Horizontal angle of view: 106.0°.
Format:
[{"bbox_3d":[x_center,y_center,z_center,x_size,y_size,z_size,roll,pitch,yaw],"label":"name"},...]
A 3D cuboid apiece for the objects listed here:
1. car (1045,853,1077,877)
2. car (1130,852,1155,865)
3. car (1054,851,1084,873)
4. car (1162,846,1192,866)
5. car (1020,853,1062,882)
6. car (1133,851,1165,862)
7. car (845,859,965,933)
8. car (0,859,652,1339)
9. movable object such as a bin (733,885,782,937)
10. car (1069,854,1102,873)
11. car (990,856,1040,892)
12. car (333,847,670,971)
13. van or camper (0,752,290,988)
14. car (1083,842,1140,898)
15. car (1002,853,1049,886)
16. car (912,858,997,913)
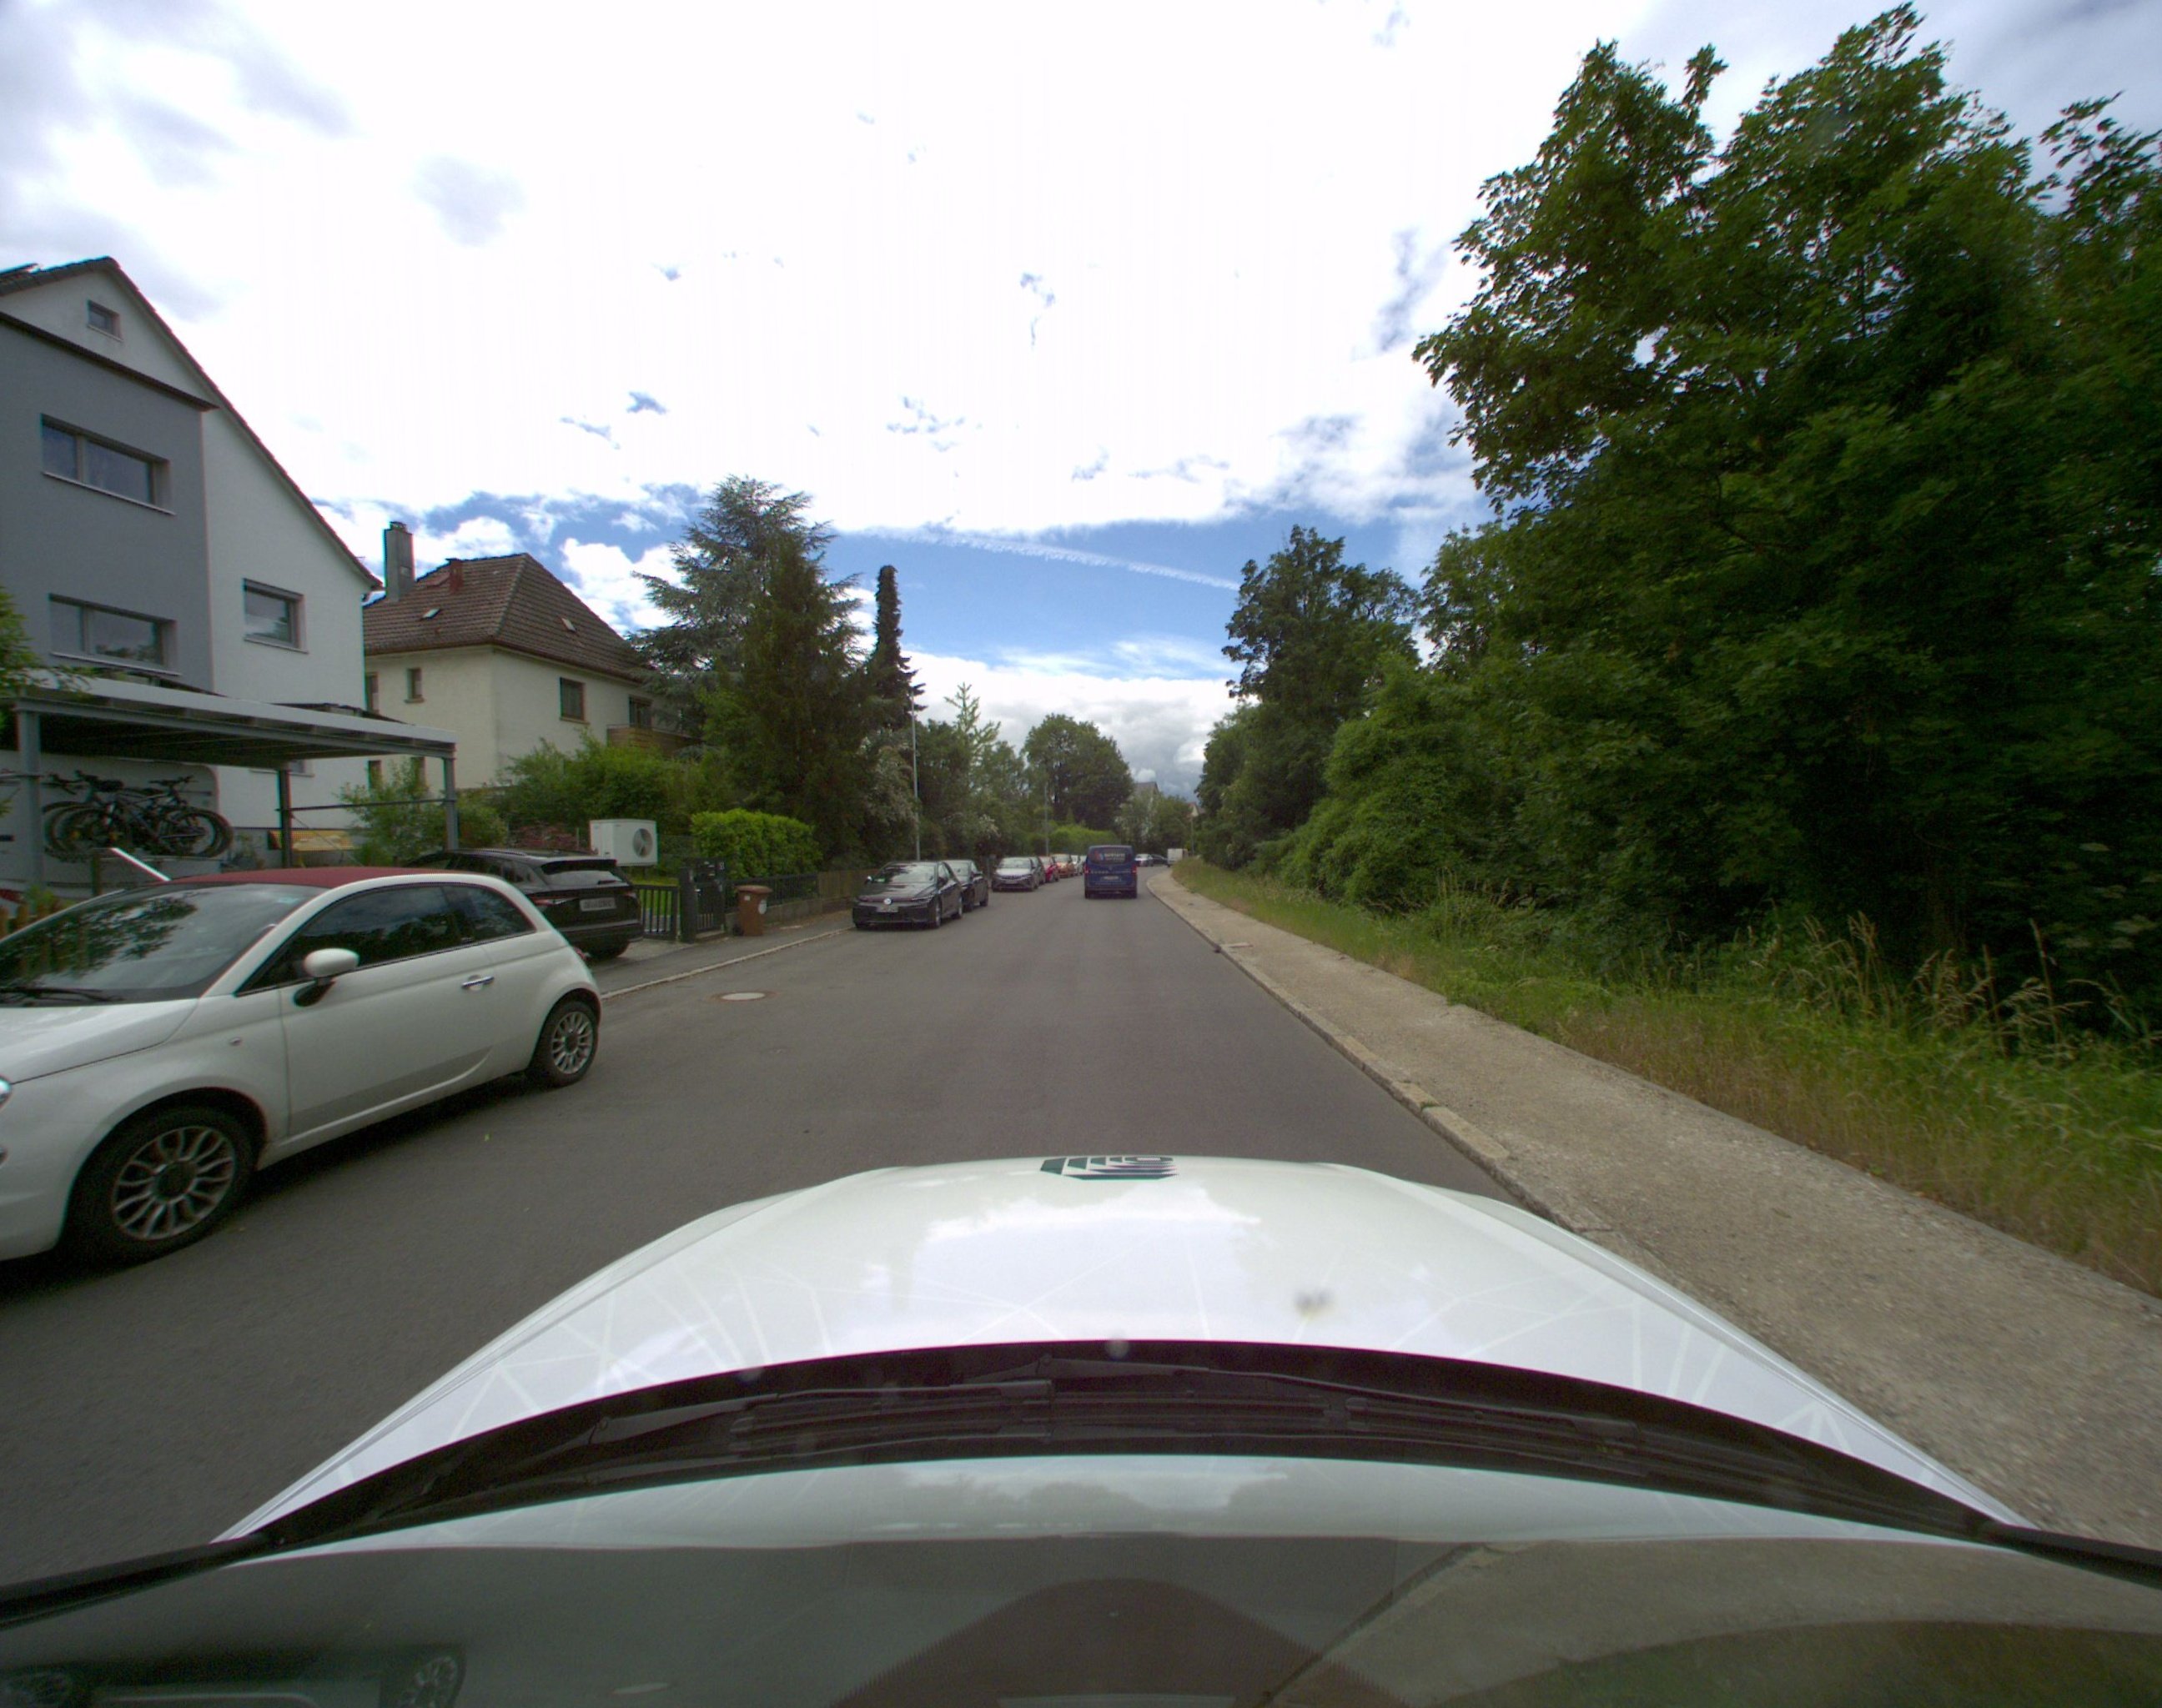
[{"bbox_3d":[-1.284,0.688,53.537,1.535,1.514,3.651,-1,0,6],"label":"car"},{"bbox_3d":[6.891,0.447,90.921,1.817,1.374,4.465,0,0,17],"label":"car"},{"bbox_3d":[-0.811,0.545,58.231,1.579,1.514,3.599,-1,0,8],"label":"car"},{"bbox_3d":[10.329,0.240,87.145,2.189,2.063,6.161,-1,0,16],"label":"car"},{"bbox_3d":[-2.202,0.717,46.027,1.698,1.514,4.371,-1,0,6],"label":"car"},{"bbox_3d":[9.078,0.321,108.550,4.153,1.447,1.740,0,-1,0],"label":"car"},{"bbox_3d":[-3.829,0.859,18.443,1.700,1.416,4.151,-1,0,1],"label":"car"},{"bbox_3d":[-4.291,0.810,4.453,1.700,1.511,3.947,-1,0,1],"label":"car"},{"bbox_3d":[-6.068,1.059,15.303,0.627,0.922,0.655,-1,0,3],"label":"movable object such as a bin"},{"bbox_3d":[0.404,0.734,63.577,1.707,1.385,4.678,-1,0,11],"label":"car"},{"bbox_3d":[-2.805,0.820,35.253,1.700,1.410,4.162,-1,0,1],"label":"car"},{"bbox_3d":[-8.264,0.689,11.727,3.957,1.547,1.849,0,0,15],"label":"car"},{"bbox_3d":[-14.619,0.133,10.886,6.637,2.651,2.331,1,0,10],"label":"van or camper"},{"bbox_3d":[1.061,0.545,30.282,1.930,1.880,4.530,-1,0,0],"label":"car"},{"bbox_3d":[-2.759,0.738,41.229,1.699,1.514,4.501,-1,0,4],"label":"car"},{"bbox_3d":[-3.580,0.843,23.745,1.700,1.416,4.133,-1,0,1],"label":"car"}]
